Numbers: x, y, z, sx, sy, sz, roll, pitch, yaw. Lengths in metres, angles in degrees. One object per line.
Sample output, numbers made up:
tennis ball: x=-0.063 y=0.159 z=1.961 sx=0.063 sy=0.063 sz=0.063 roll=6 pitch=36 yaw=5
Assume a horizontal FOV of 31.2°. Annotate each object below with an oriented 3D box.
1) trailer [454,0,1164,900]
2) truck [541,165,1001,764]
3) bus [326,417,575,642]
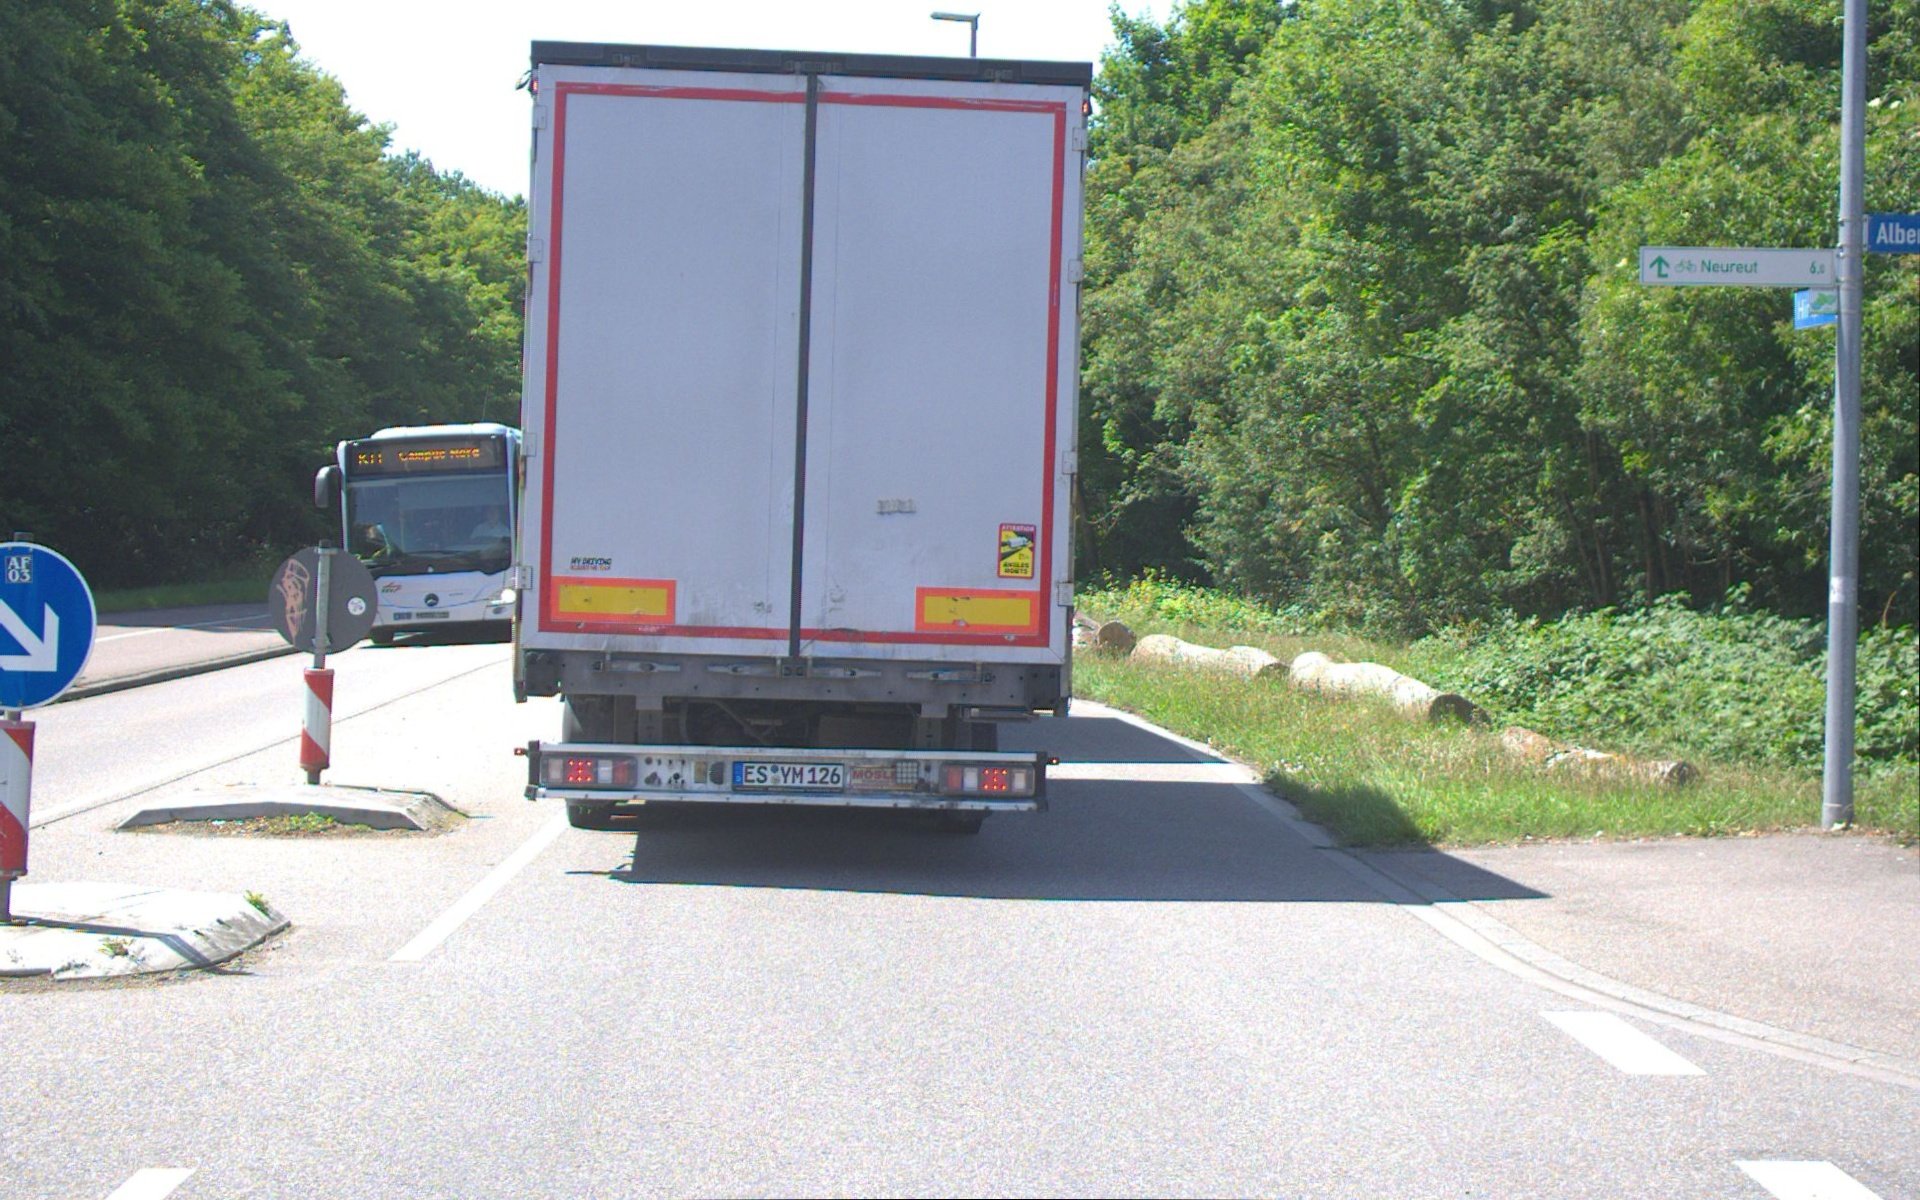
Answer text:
trailer: x=-1.032 y=-0.814 z=20.200 sx=3.077 sy=4.056 sz=9.810 roll=1 pitch=1 yaw=-4
truck: x=-1.601 y=-1.010 z=27.692 sx=3.077 sy=4.056 sz=7.960 roll=1 pitch=1 yaw=-4
bus: x=-7.630 y=-1.082 z=52.950 sx=2.749 sy=3.035 sz=11.940 roll=-1 pitch=1 yaw=-4
